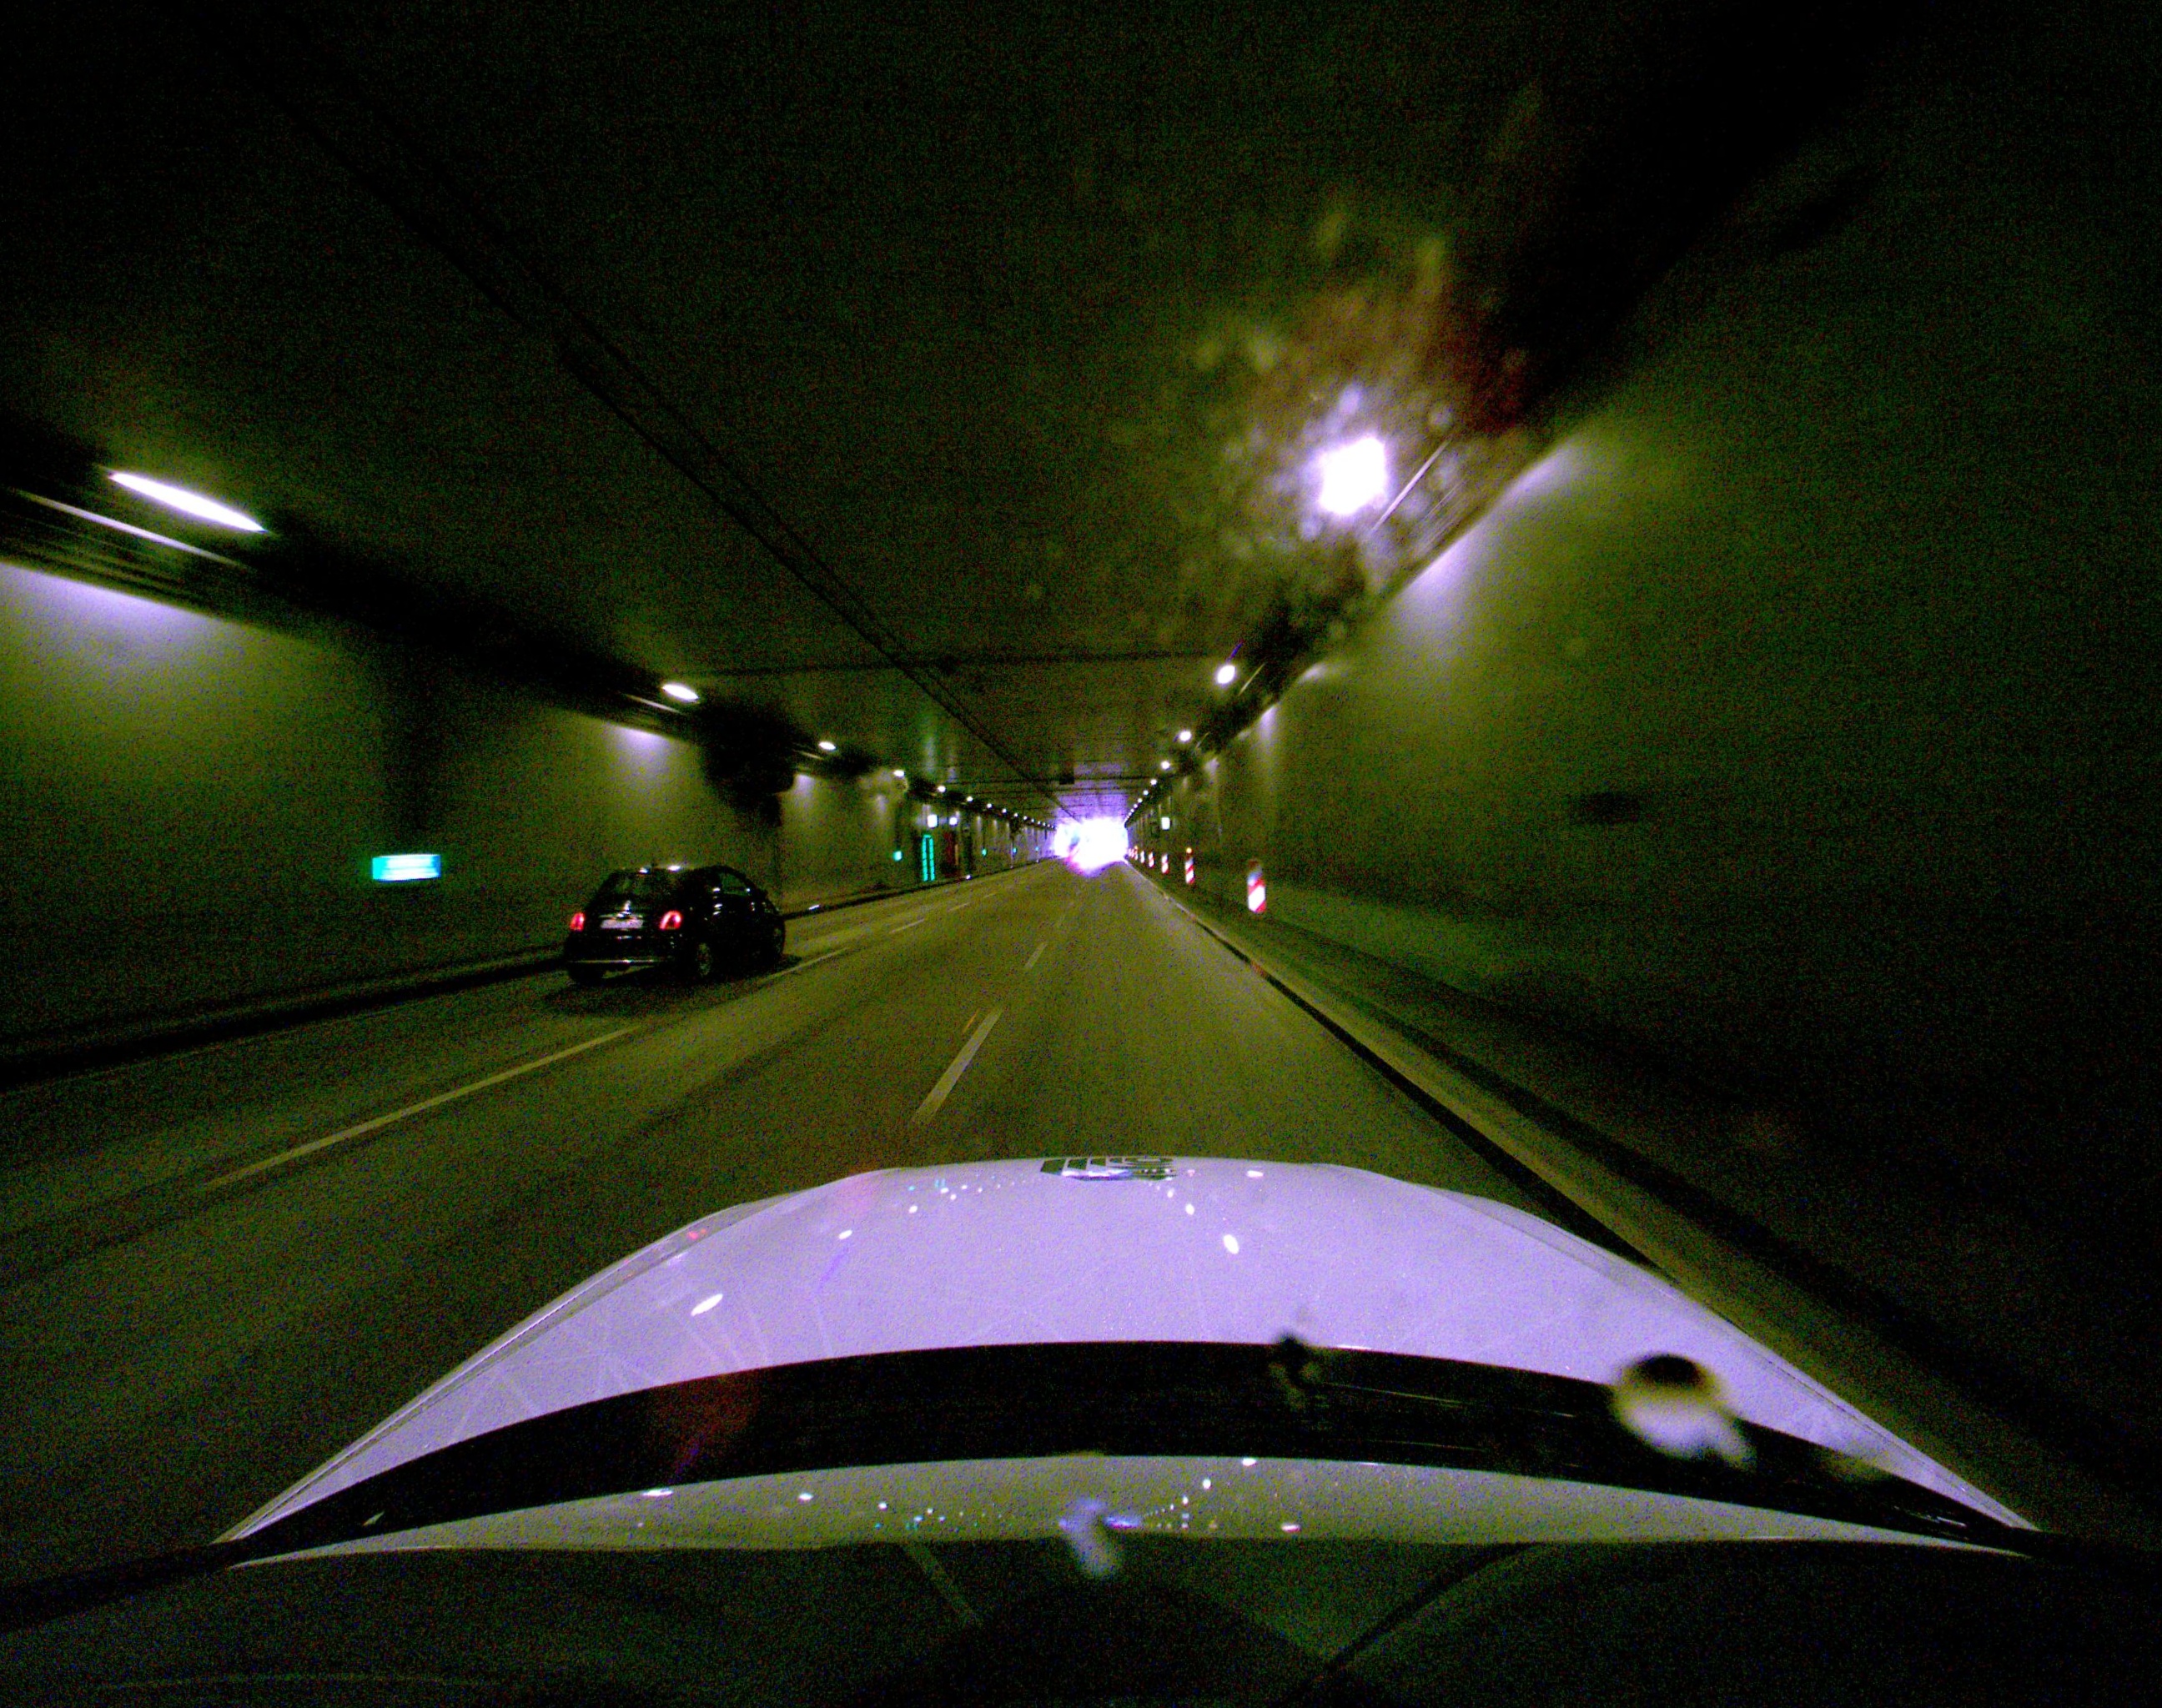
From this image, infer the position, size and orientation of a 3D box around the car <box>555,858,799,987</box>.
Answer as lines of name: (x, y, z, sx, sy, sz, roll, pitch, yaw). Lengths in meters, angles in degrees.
car: (-5.407, 0.816, 11.454, 1.607, 1.454, 3.572, -1, 0, 0)

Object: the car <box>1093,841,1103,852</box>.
car: (3.577, -1.542, 169.581, 1.986, 2.013, 4.002, -2, 0, 2)

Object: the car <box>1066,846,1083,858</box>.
car: (-0.824, -0.210, 100.083, 1.988, 1.448, 4.311, 0, 0, -2)

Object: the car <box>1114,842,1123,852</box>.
car: (8.374, -1.567, 184.068, 1.986, 2.013, 4.002, -2, 0, 2)
